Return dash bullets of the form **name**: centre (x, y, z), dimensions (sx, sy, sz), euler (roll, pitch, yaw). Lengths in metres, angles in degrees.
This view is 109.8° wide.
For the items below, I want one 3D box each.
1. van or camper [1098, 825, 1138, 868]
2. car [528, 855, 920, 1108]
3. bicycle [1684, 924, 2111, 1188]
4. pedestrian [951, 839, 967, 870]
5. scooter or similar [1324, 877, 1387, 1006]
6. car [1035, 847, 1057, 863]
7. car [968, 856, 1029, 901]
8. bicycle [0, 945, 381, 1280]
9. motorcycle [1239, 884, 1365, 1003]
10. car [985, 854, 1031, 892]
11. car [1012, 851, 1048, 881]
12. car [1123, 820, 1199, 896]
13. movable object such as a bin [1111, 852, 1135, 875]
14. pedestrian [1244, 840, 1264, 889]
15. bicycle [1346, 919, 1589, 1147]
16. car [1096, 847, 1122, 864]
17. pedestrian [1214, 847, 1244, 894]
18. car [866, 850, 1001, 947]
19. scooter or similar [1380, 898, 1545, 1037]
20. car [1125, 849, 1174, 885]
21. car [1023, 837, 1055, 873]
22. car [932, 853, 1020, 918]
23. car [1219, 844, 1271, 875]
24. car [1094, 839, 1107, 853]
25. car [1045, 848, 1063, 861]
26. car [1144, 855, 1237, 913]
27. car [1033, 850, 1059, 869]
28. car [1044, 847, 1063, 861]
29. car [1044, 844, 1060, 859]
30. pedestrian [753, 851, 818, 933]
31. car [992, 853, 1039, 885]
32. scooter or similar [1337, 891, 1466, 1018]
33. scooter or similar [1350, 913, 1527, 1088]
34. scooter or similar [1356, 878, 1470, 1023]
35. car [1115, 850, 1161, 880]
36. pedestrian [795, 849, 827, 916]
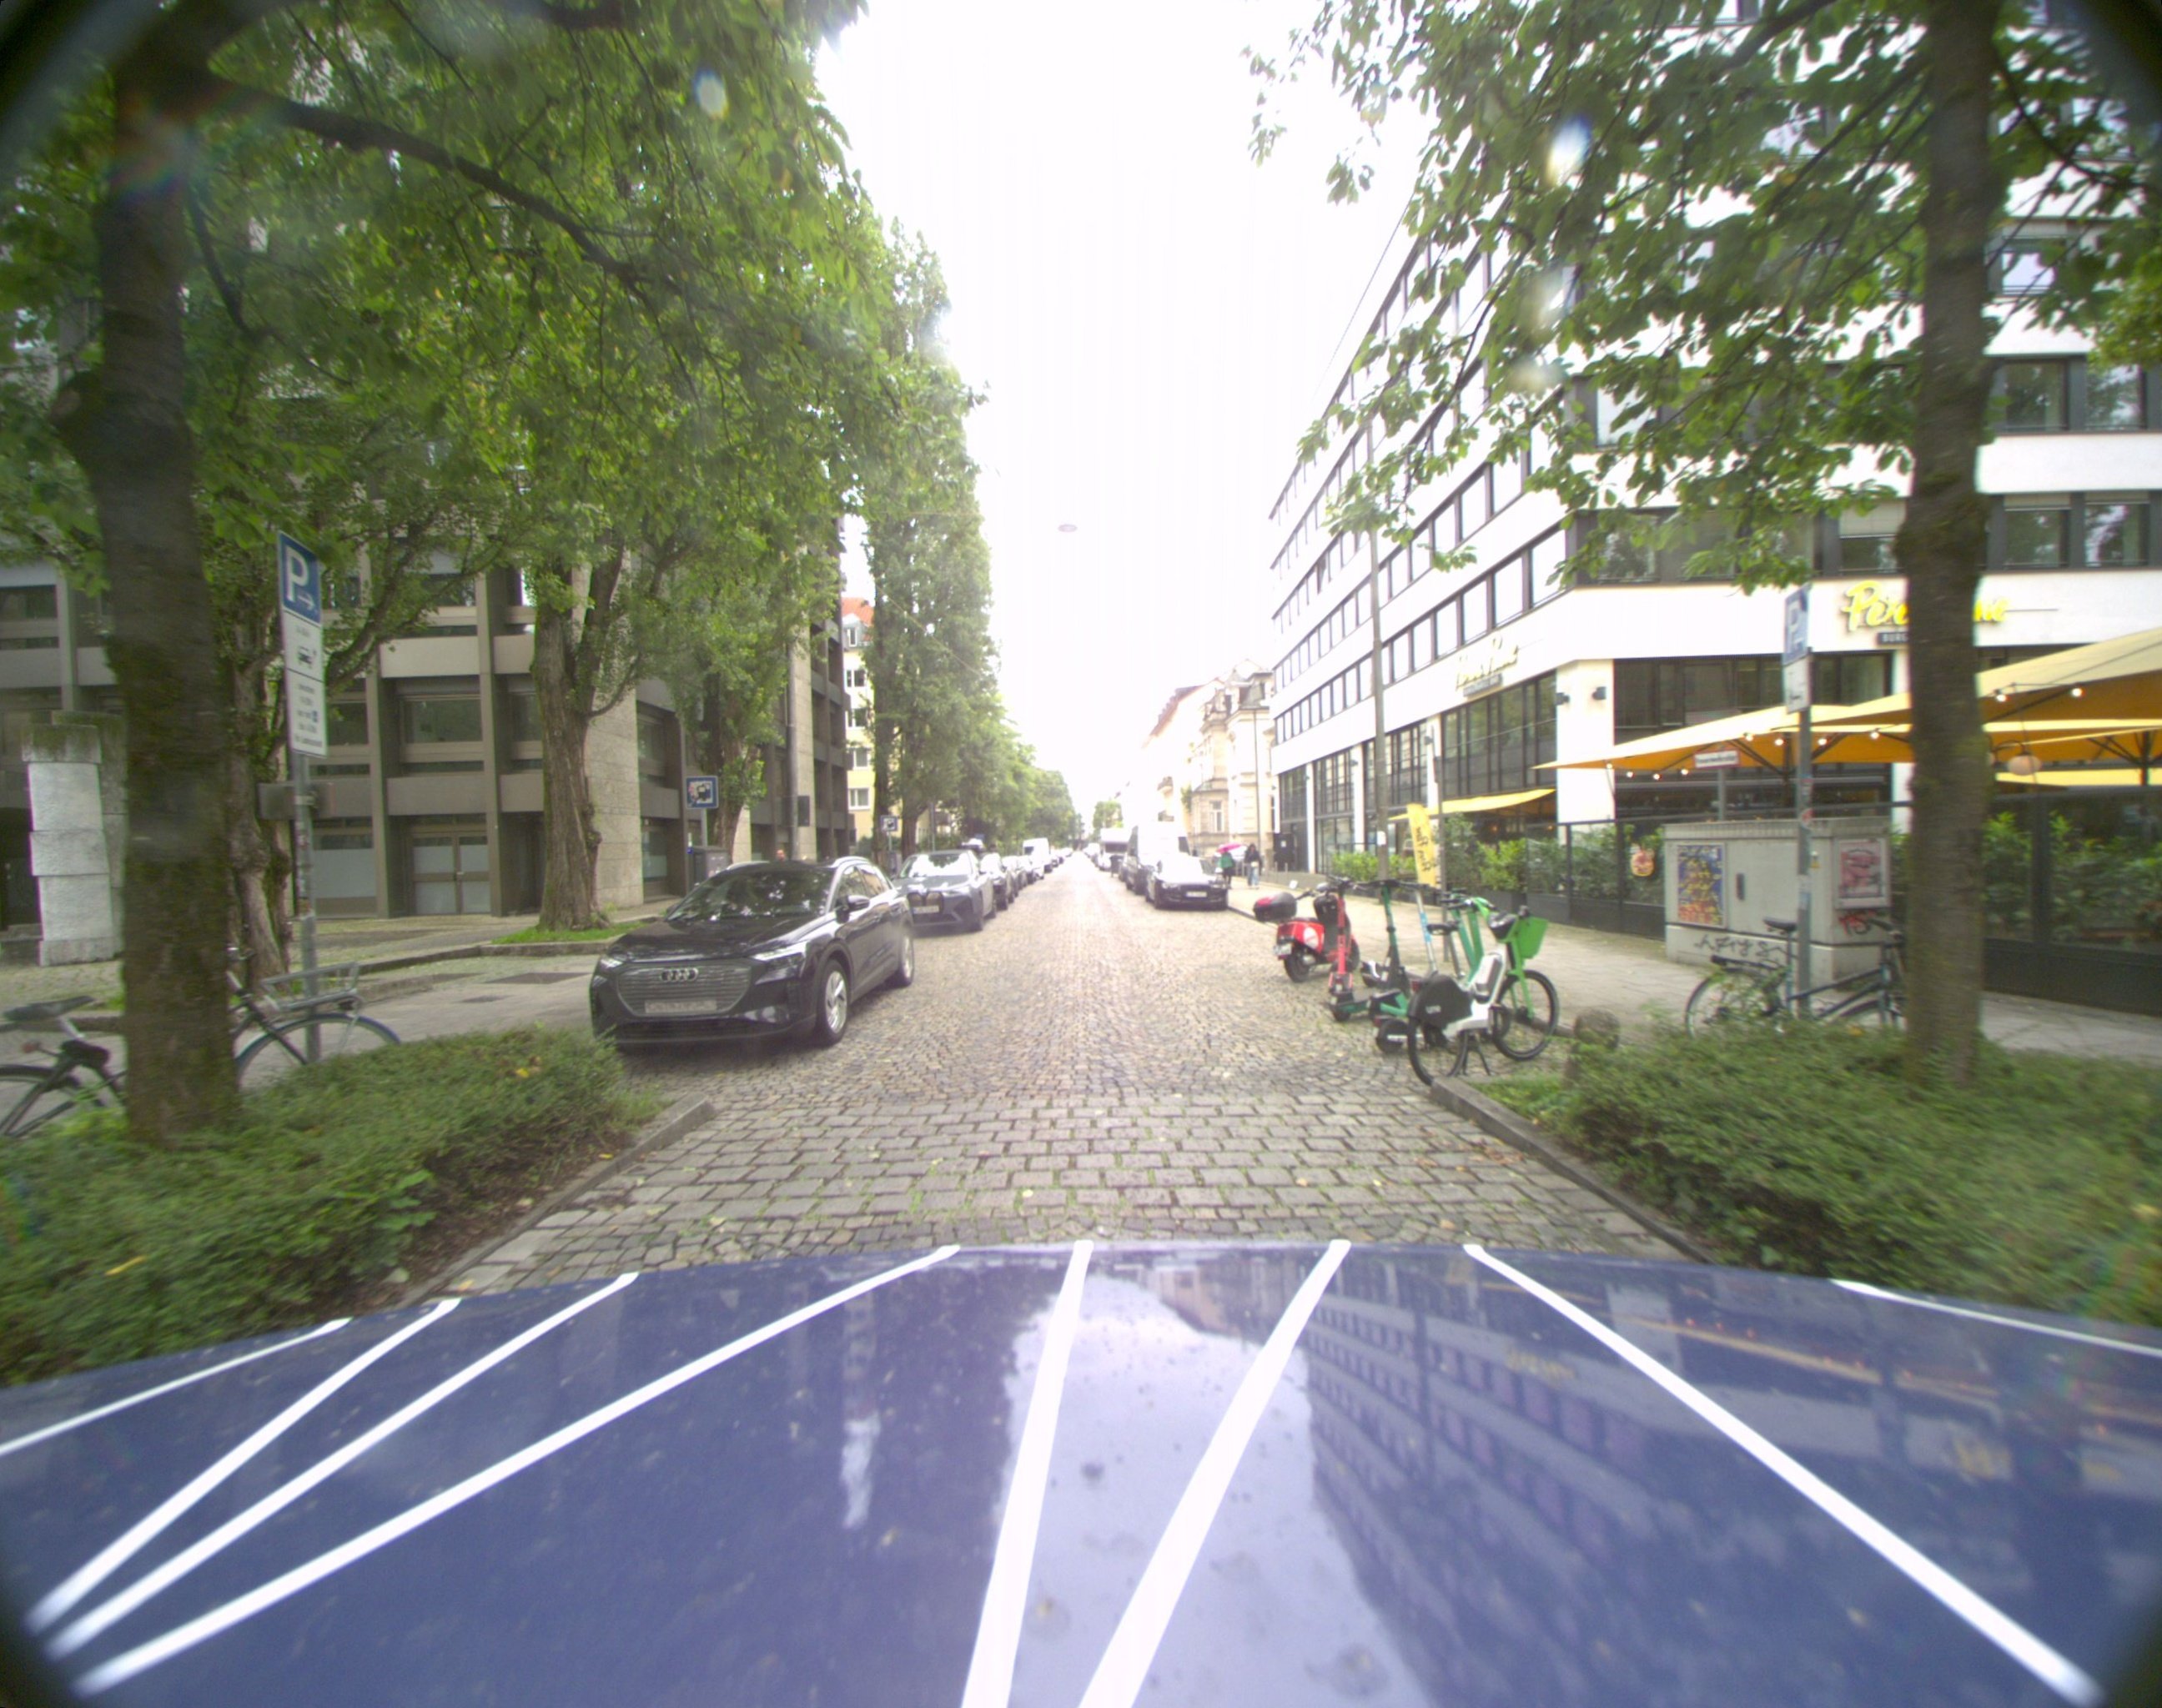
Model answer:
- **van or camper**: centre (2.714, -0.568, 58.034), dimensions (2.464, 3.030, 7.315), euler (-1, 1, -1)
- **car**: centre (-3.030, 0.931, 7.624), dimensions (1.925, 1.691, 4.200), euler (-2, 1, -1)
- **bicycle**: centre (4.469, 1.015, 4.388), dimensions (0.553, 1.016, 1.762), euler (-2, 1, -1)
- **pedestrian**: centre (-6.119, 0.041, 38.182), dimensions (0.645, 1.528, 0.709), euler (-2, 2, -3)
- **scooter or similar**: centre (3.120, 0.935, 8.571), dimensions (0.326, 1.266, 1.360), euler (0, 2, 35)
- **car**: centre (-3.418, 0.073, 74.606), dimensions (1.999, 1.380, 3.872), euler (-3, 1, -2)
- **car**: centre (-3.050, 0.865, 28.815), dimensions (1.723, 1.382, 4.204), euler (-4, 1, 0)
- **bicycle**: centre (-4.437, 1.111, 3.478), dimensions (0.475, 1.130, 1.877), euler (-1, 1, 9)
- **motorcycle**: centre (2.730, 1.010, 9.224), dimensions (0.769, 1.189, 1.995), euler (1, 1, 38)
- **car**: centre (-3.152, 0.793, 33.339), dimensions (1.605, 1.422, 3.561), euler (-4, 1, 0)
- **car**: centre (-2.886, 0.632, 43.543), dimensions (1.868, 1.490, 3.872), euler (-3, 1, -2)
- **car**: centre (2.809, 0.093, 27.960), dimensions (2.065, 2.476, 5.847), euler (-1, 1, -1)
- **movable object such as a bin**: centre (2.436, 0.542, 44.122), dimensions (1.255, 1.290, 1.173), euler (-1, 1, -4)
- **pedestrian**: centre (6.247, 0.382, 27.386), dimensions (0.575, 1.738, 0.651), euler (-1, 1, 4)
- **bicycle**: centre (2.589, 1.085, 5.024), dimensions (1.765, 1.136, 0.552), euler (-2, 2, -30)
- **car**: centre (2.545, 0.129, 69.023), dimensions (1.999, 1.380, 3.872), euler (-3, 1, -2)
- **pedestrian**: centre (5.397, 0.594, 27.775), dimensions (0.928, 1.696, 0.800), euler (-1, 1, 3)
- **car**: centre (-3.003, 0.817, 16.545), dimensions (2.018, 1.691, 4.671), euler (-2, 1, -1)
- **scooter or similar**: centre (3.317, 0.978, 6.641), dimensions (1.250, 1.137, 0.327), euler (-2, 1, 1)
- **car**: centre (2.980, 0.547, 33.855), dimensions (1.998, 1.422, 4.000), euler (-1, 1, 3)
- **car**: centre (-3.046, -0.007, 56.014), dimensions (2.088, 2.419, 5.609), euler (-3, 1, -1)
- **car**: centre (-2.949, 0.832, 22.294), dimensions (1.999, 1.574, 4.341), euler (-2, 1, -1)
- **car**: centre (8.757, 0.238, 40.937), dimensions (1.912, 1.524, 4.169), euler (-1, 1, 1)
- **car**: centre (3.625, -1.500, 143.070), dimensions (2.088, 2.419, 5.609), euler (-2, 1, -1)
- **car**: centre (-3.228, 0.059, 90.511), dimensions (1.999, 1.380, 3.872), euler (-2, 1, -2)
- **car**: centre (2.878, 0.747, 20.827), dimensions (1.998, 1.322, 4.116), euler (-2, 1, 1)
- **car**: centre (-2.856, 0.390, 62.566), dimensions (1.999, 1.380, 3.872), euler (-3, 1, -2)
- **car**: centre (-3.022, -0.035, 83.349), dimensions (1.999, 1.380, 3.872), euler (-2, 1, -2)
- **car**: centre (-3.696, -0.319, 96.965), dimensions (1.999, 1.680, 3.872), euler (-3, 1, -2)
- **pedestrian**: centre (-6.367, 0.801, 16.387), dimensions (0.867, 1.704, 0.913), euler (-1, 2, 20)
- **car**: centre (-3.224, 0.698, 38.273), dimensions (1.999, 1.380, 3.872), euler (-3, 1, 0)
- **scooter or similar**: centre (3.338, 1.006, 7.999), dimensions (0.390, 1.173, 1.248), euler (-2, 1, -31)
- **scooter or similar**: centre (2.775, 1.079, 5.866), dimensions (1.432, 1.137, 0.369), euler (-2, 2, -23)
- **scooter or similar**: centre (3.243, 0.901, 7.399), dimensions (1.253, 1.266, 0.327), euler (-2, 2, -30)
- **car**: centre (2.834, 0.500, 38.624), dimensions (1.999, 1.380, 3.999), euler (-1, 1, 0)
- **pedestrian**: centre (-6.671, 0.690, 18.790), dimensions (0.489, 1.619, 0.568), euler (-2, 2, 4)
